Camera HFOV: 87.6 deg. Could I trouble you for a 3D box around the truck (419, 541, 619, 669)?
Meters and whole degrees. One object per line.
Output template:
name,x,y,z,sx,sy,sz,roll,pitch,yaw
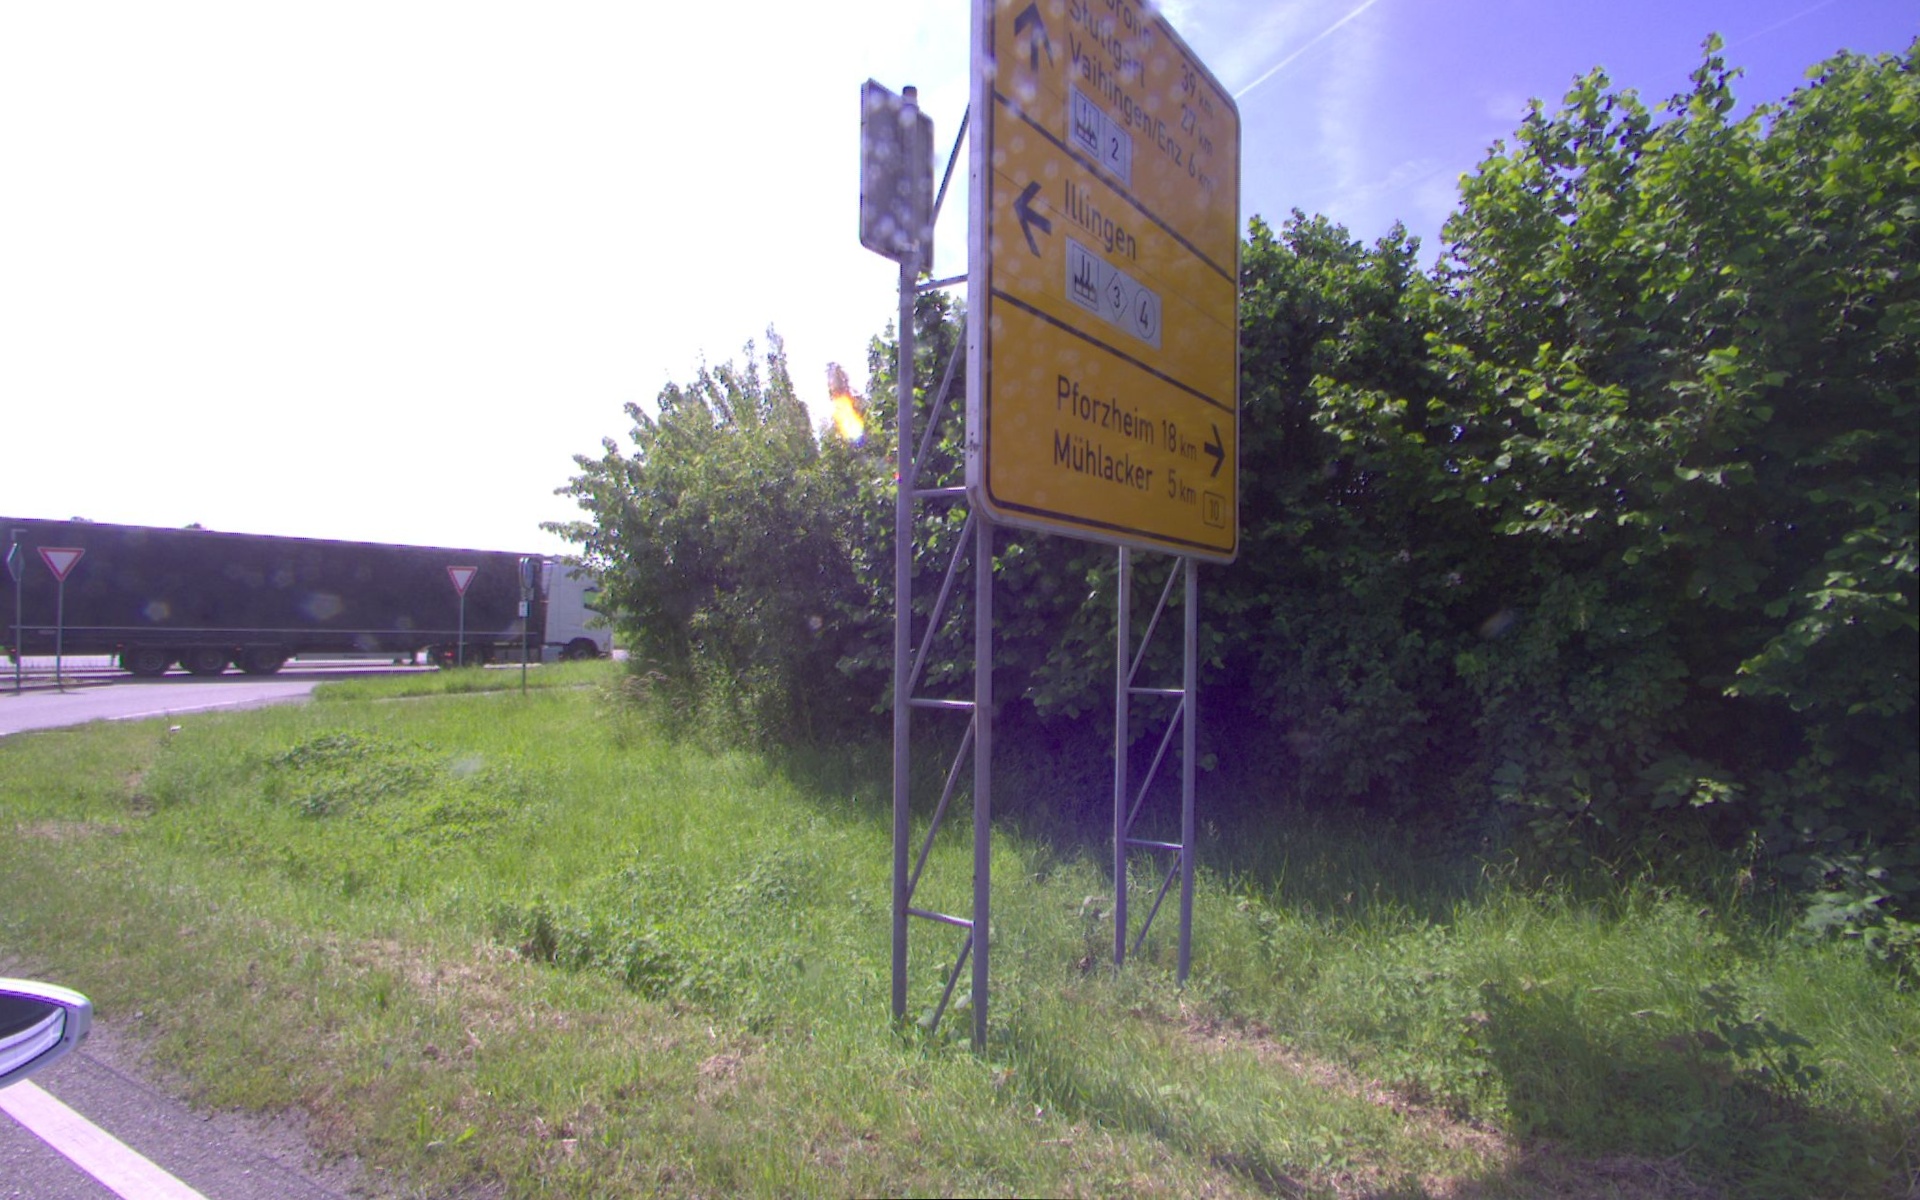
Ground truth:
truck,-15.433,0.231,35.313,2.766,4.114,5.799,1,-1,41

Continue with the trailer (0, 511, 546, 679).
trailer,-19.945,0.071,30.474,2.768,4.114,13.611,1,-1,43
